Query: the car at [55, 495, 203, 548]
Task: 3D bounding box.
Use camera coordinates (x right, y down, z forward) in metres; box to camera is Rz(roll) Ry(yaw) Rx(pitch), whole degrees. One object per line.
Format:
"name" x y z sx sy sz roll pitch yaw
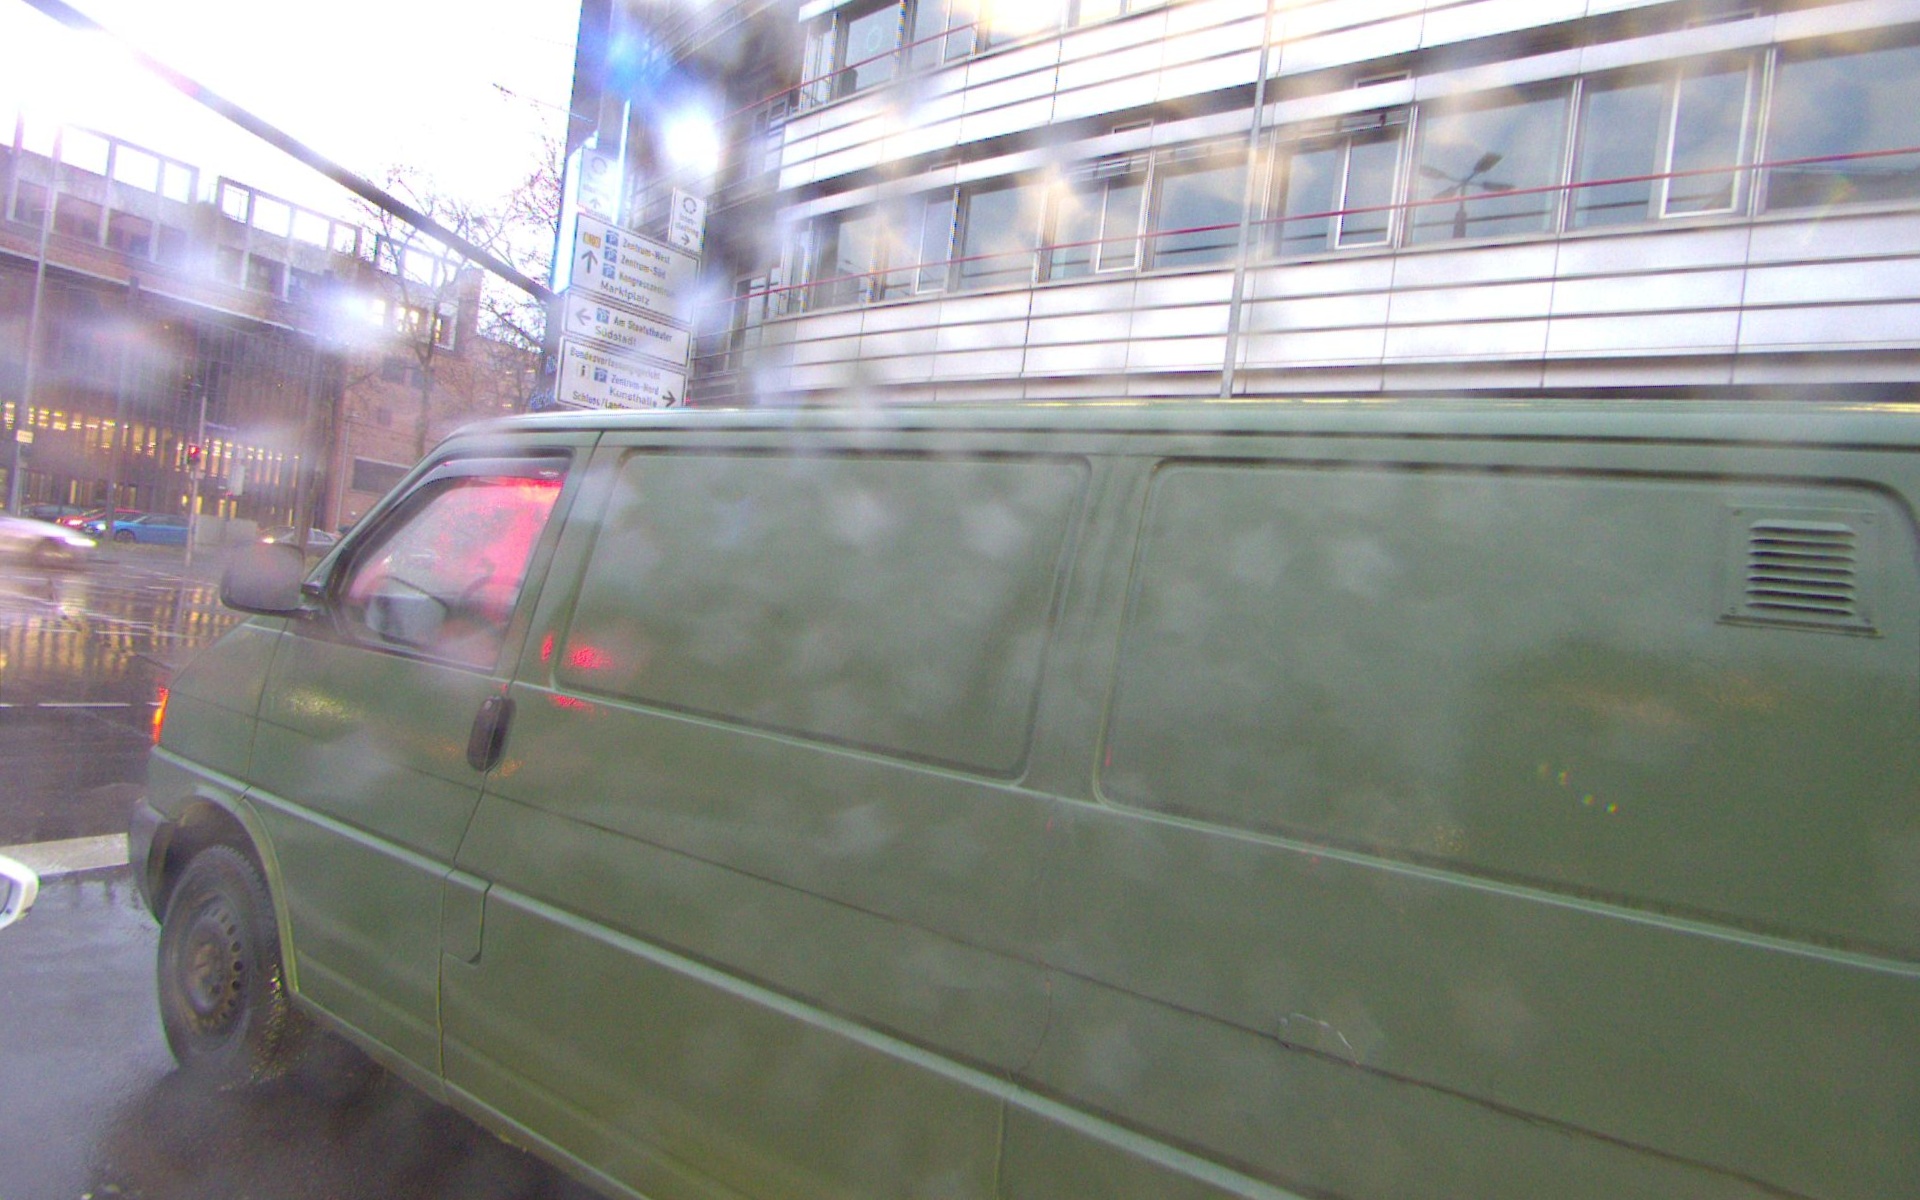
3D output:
"car" -32.447 -3.035 39.395 1.814 1.278 3.997 11 1 26

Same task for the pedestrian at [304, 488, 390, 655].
"pedestrian" -8.429 -0.381 13.835 0.609 2.210 0.576 6 0 26

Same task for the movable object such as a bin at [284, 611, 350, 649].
"movable object such as a bin" -9.005 0.423 14.102 0.306 0.475 0.679 6 -1 26

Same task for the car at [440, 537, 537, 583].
"car" -23.571 -1.978 50.419 1.814 1.621 3.997 11 1 26

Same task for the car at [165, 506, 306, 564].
"car" -28.311 -2.510 39.453 1.814 1.523 3.997 11 1 26

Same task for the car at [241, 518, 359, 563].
"car" -29.643 -2.658 45.317 1.814 1.304 3.997 11 1 26

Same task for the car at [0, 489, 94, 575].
"car" -21.347 -1.668 20.719 2.222 1.627 4.981 7 0 41

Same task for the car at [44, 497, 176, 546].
"car" -35.490 -3.250 42.113 1.814 1.278 3.729 11 1 26

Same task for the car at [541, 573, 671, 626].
"car" -13.336 0.023 38.278 2.012 1.580 4.834 7 0 19

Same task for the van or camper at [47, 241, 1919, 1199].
"van or camper" -0.340 0.531 2.637 4.345 1.929 1.760 7 -1 32
